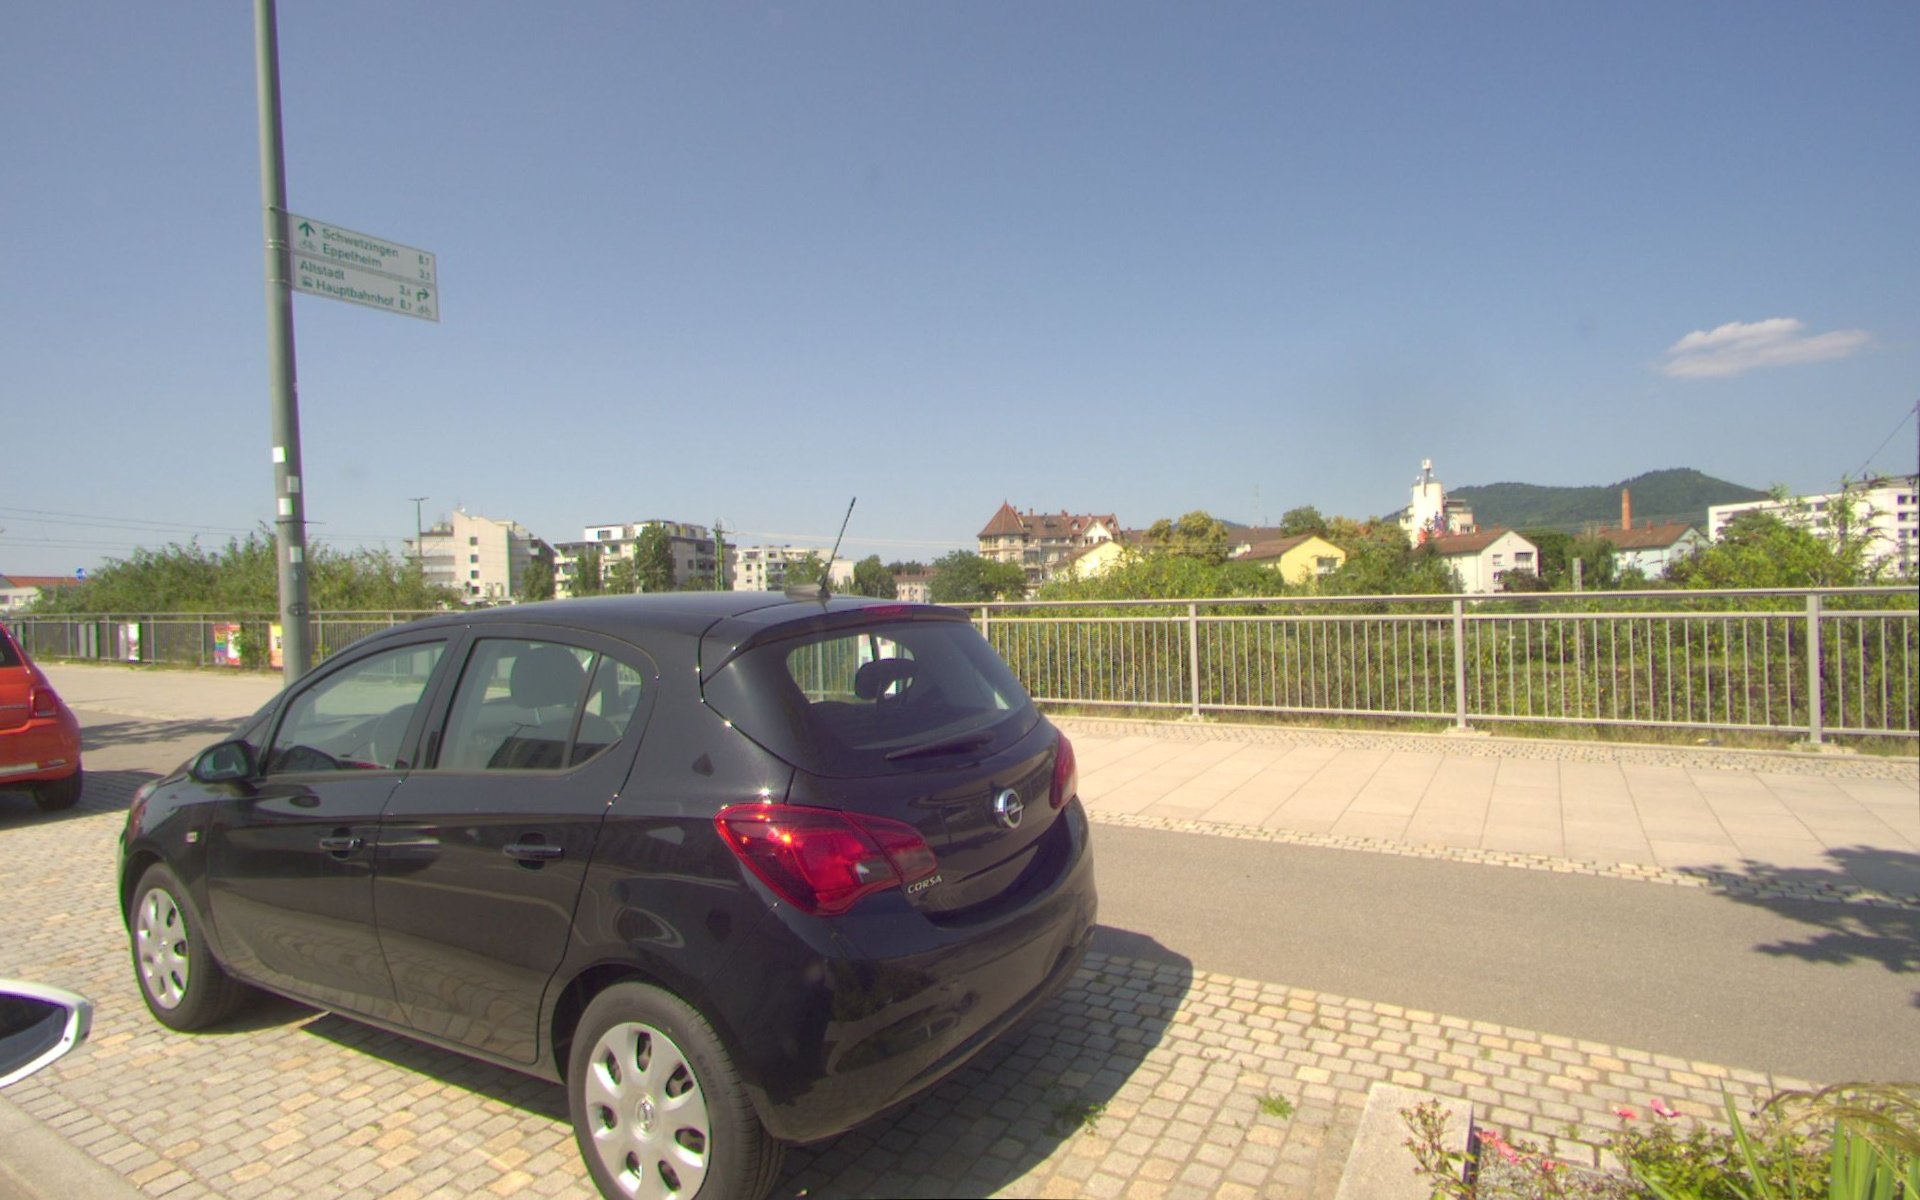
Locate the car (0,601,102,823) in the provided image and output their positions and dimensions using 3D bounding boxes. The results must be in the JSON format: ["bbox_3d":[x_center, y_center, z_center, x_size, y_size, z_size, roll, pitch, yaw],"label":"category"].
[{"bbox_3d":[-8.150,0.806,7.603,3.305,1.517,1.605,-1,2,34],"label":"car"}]

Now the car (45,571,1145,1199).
[{"bbox_3d":[-1.505,0.704,3.612,3.943,1.445,1.657,-1,0,32],"label":"car"}]
